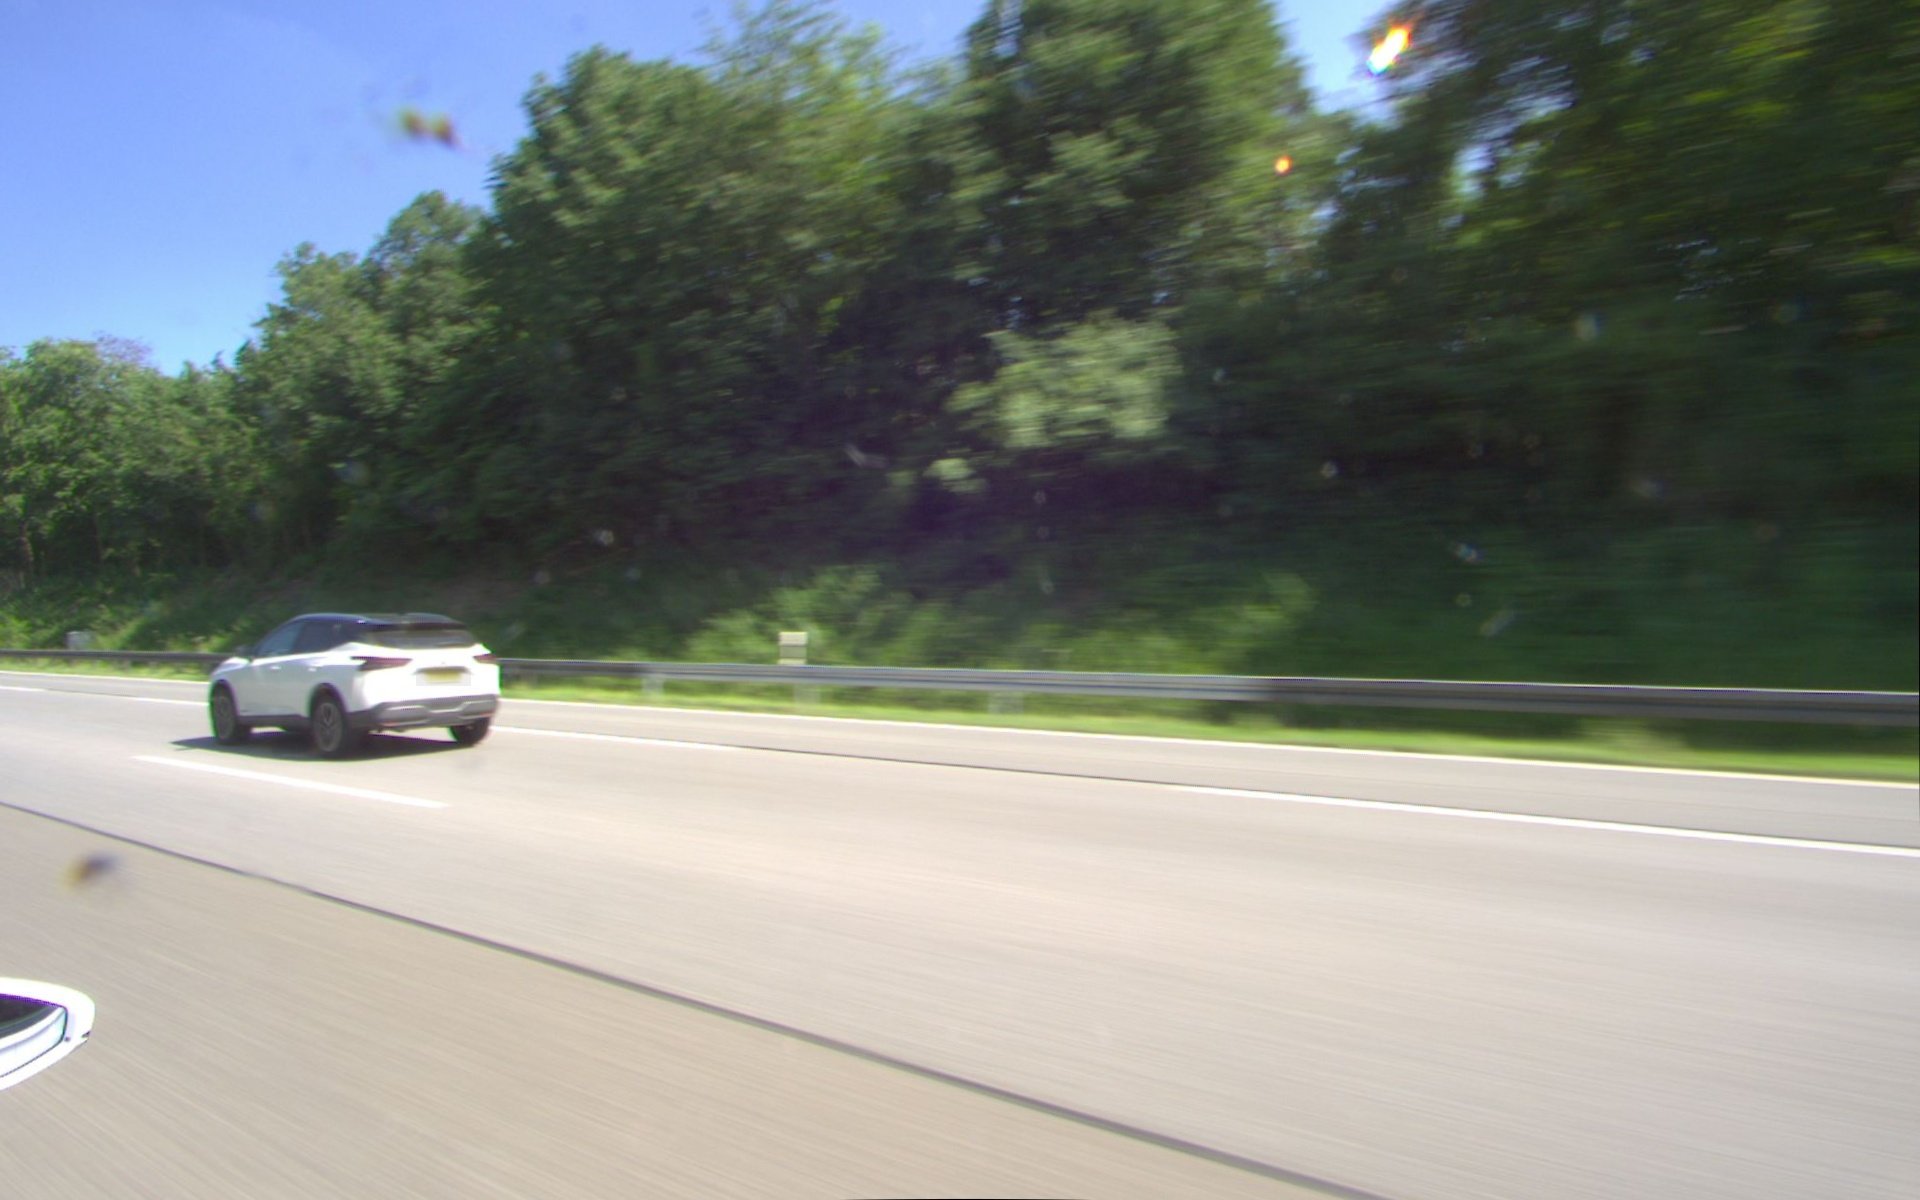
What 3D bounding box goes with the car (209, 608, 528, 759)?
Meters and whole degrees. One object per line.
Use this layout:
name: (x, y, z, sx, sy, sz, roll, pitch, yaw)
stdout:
car: (-7.400, 0.932, 12.449, 3.978, 1.588, 1.840, -1, -2, 33)
